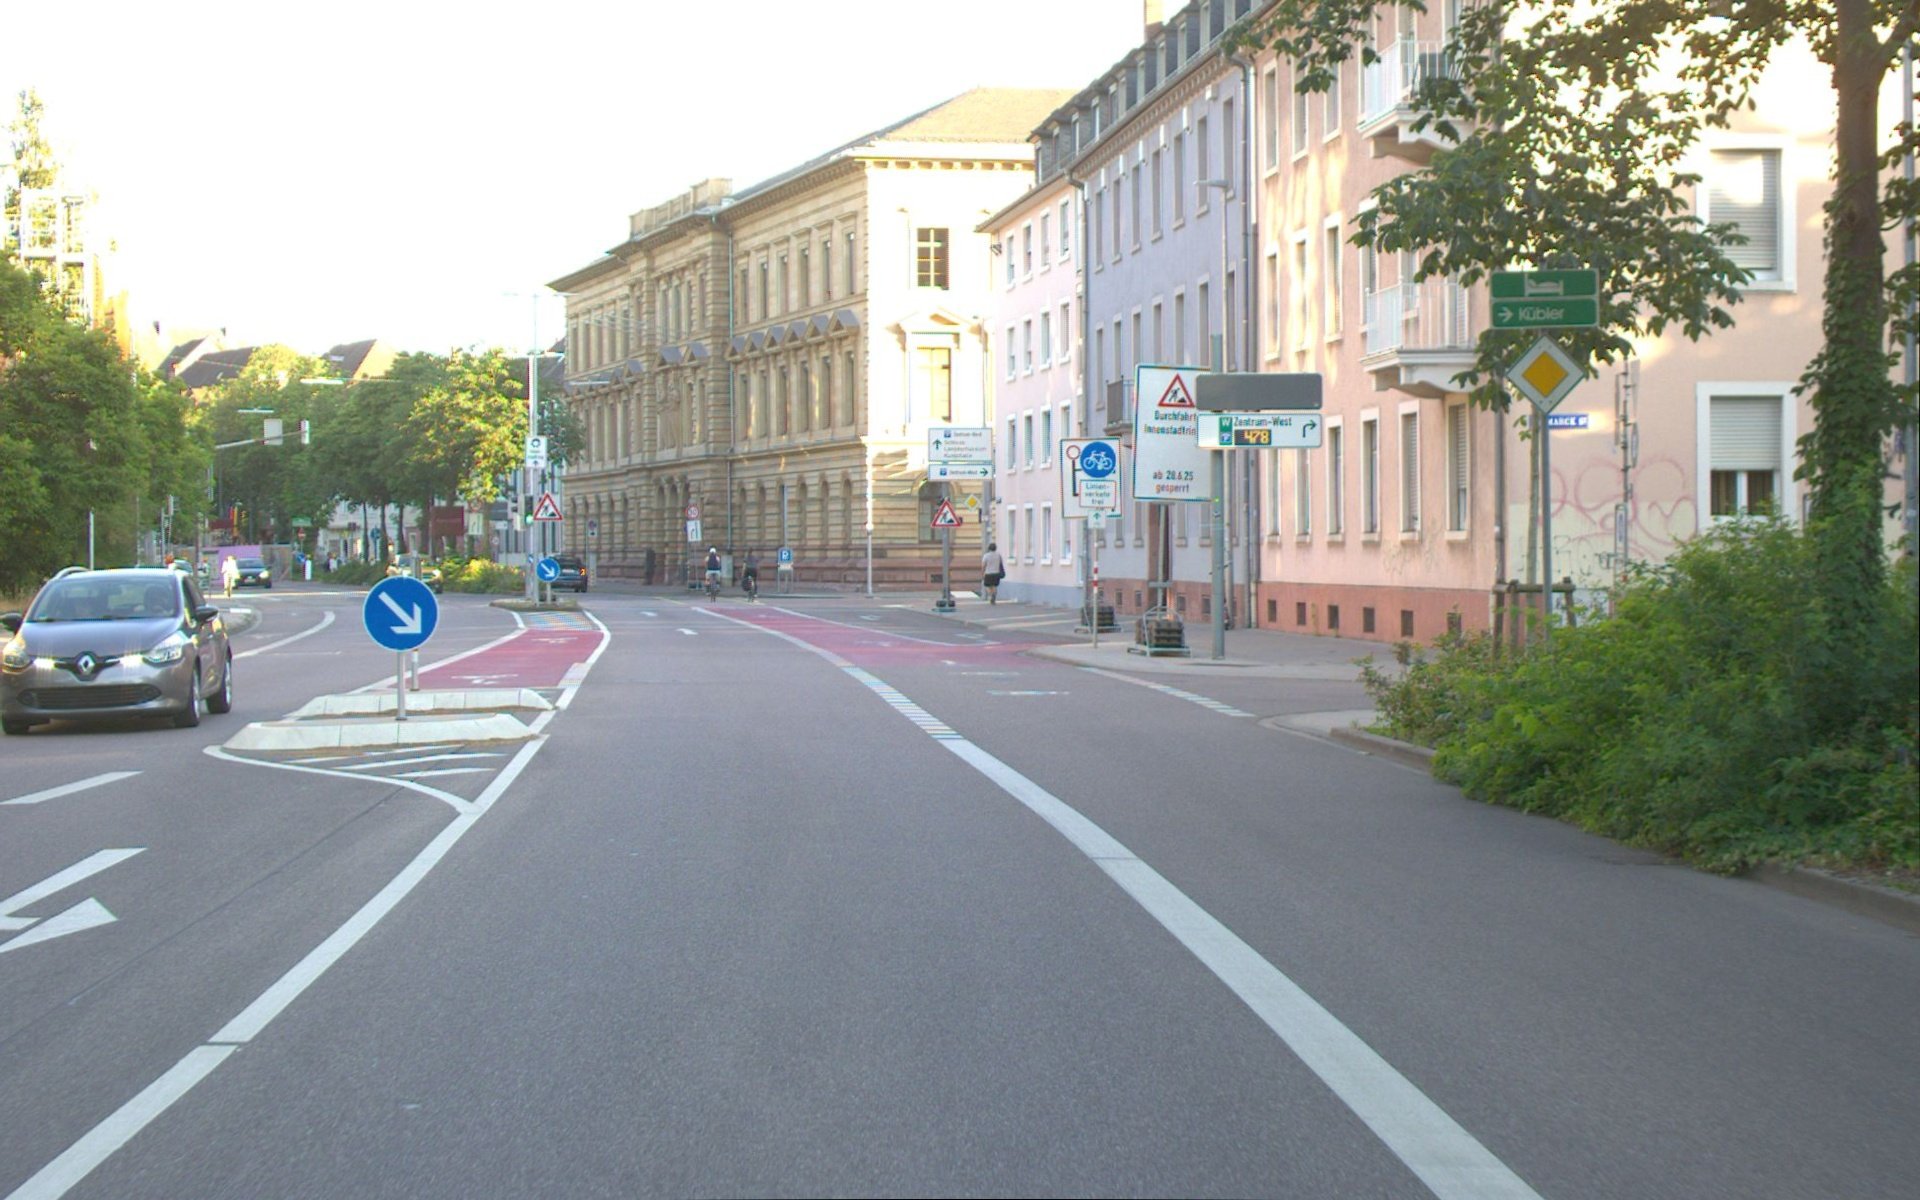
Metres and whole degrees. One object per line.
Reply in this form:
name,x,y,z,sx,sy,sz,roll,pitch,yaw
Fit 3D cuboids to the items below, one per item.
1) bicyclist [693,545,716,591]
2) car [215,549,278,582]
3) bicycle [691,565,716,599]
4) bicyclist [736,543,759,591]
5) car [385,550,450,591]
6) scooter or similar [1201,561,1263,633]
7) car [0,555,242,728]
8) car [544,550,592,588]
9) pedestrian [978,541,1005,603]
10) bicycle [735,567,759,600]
bicyclist,-8.093,-1.016,108.914,0.652,1.441,0.879,2,1,-2
car,-33.918,-1.644,163.333,1.993,1.579,4.001,0,1,-26
bicycle,-8.112,-0.579,108.827,0.652,1.012,2.198,2,1,-2
bicyclist,-6.735,-1.048,108.903,0.652,1.470,0.941,2,1,-2
car,-21.038,-1.150,133.305,1.993,1.579,4.001,0,1,-16
scooter or similar,5.168,-0.069,65.475,0.629,1.332,2.401,0,1,-9
car,-7.793,0.332,31.786,1.835,1.434,4.001,-2,1,-6
car,-16.100,-1.291,141.047,1.867,1.505,4.001,1,1,-7
pedestrian,0.897,-0.799,97.798,0.762,1.749,0.845,0,1,2
bicycle,-6.755,-0.525,108.904,0.652,1.012,2.198,2,1,-2
